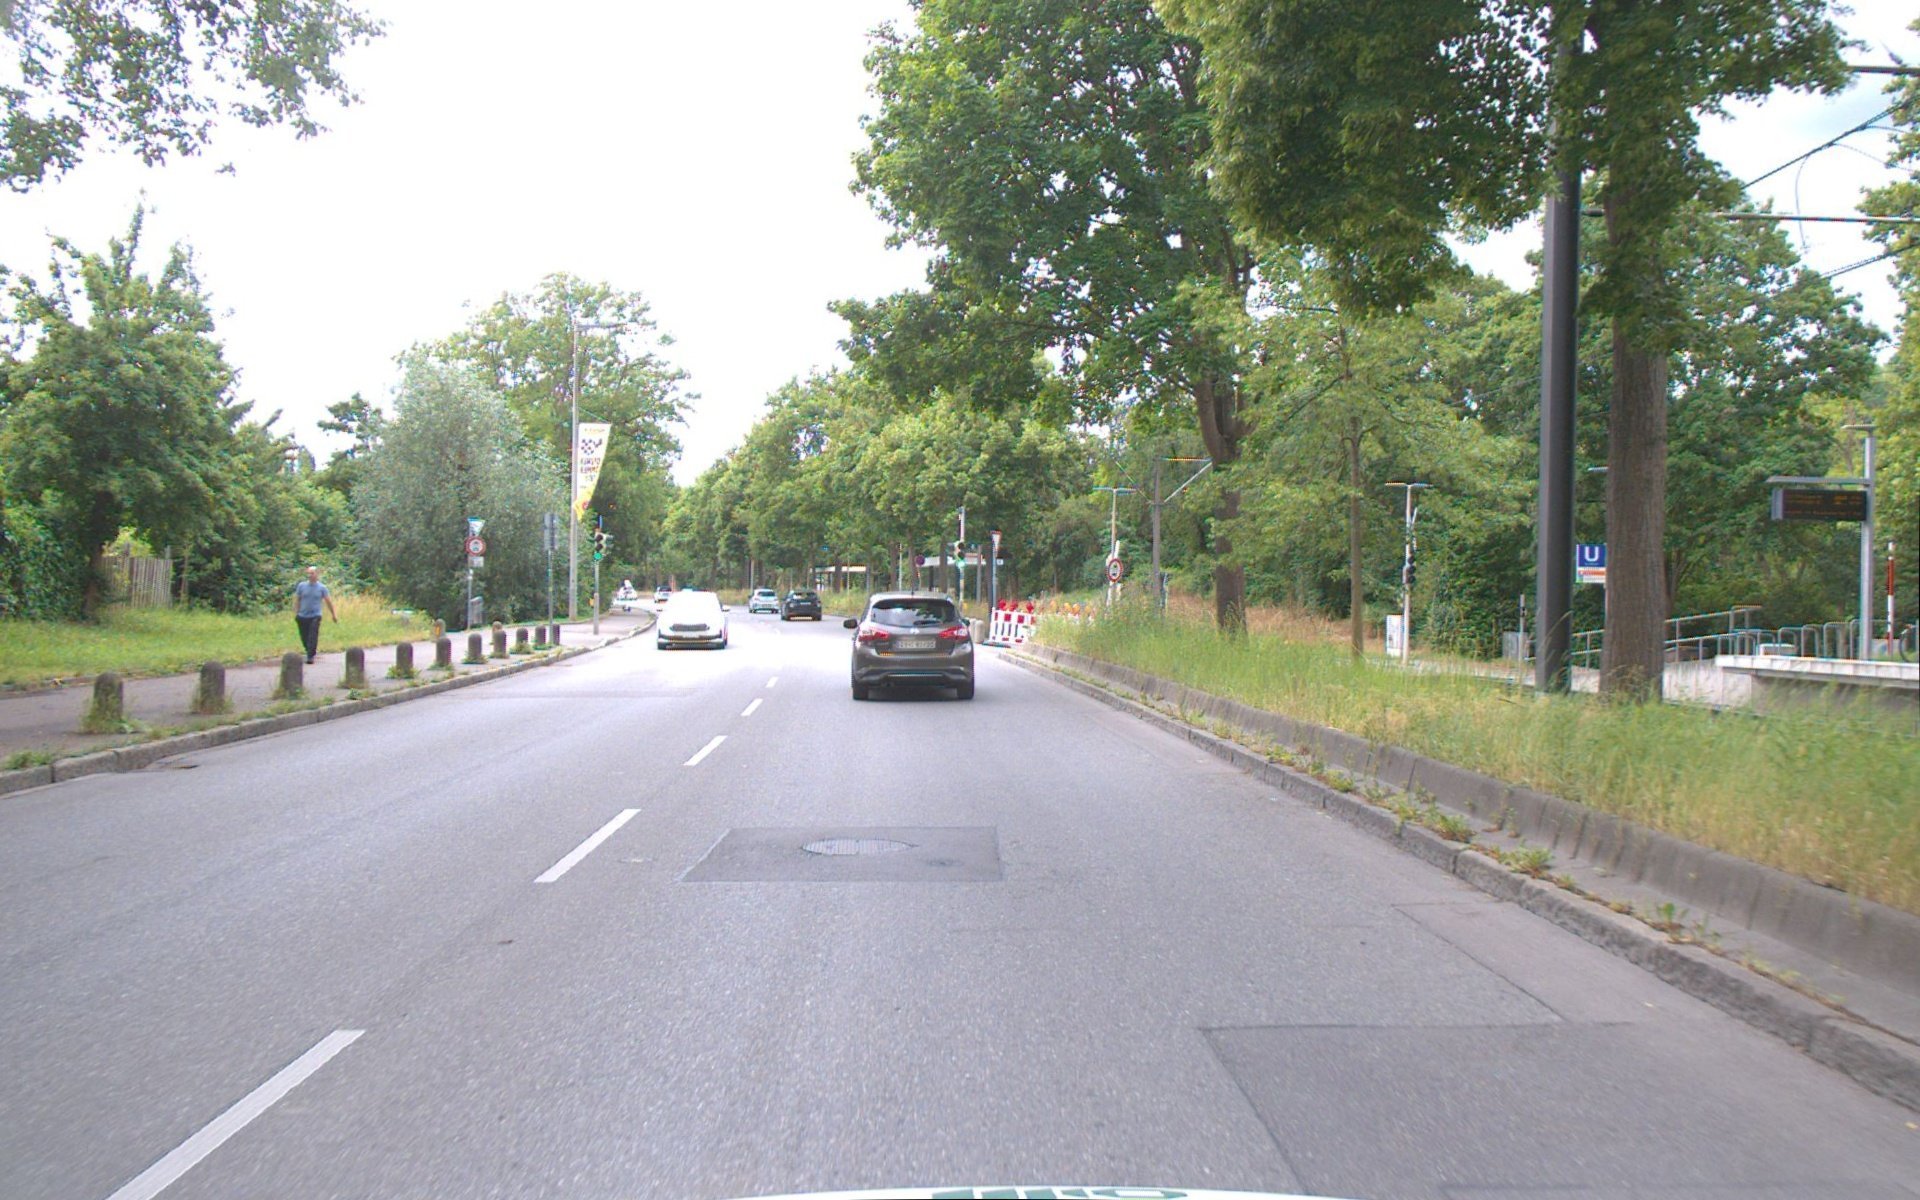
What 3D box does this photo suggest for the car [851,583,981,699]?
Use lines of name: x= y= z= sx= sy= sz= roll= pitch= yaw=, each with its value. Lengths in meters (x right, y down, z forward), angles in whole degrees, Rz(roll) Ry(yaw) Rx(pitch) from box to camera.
car: x=-0.731 y=0.544 z=24.733 sx=1.780 sy=1.534 sz=3.997 roll=0 pitch=1 yaw=-4

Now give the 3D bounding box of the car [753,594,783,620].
car: x=-12.190 y=0.450 z=105.009 sx=1.742 sy=1.497 sz=3.993 roll=3 pitch=0 yaw=-8

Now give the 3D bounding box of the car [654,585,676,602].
car: x=-28.334 y=-0.627 z=158.986 sx=1.746 sy=1.497 sz=3.984 roll=1 pitch=1 yaw=-15

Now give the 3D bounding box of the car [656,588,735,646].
car: x=-7.044 y=0.427 z=44.398 sx=1.738 sy=1.464 sz=4.357 roll=-1 pitch=0 yaw=-4

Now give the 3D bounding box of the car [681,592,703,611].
car: x=-23.013 y=0.089 z=142.160 sx=1.743 sy=1.497 sz=3.992 roll=4 pitch=0 yaw=-8

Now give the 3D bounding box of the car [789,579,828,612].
car: x=-7.360 y=-0.222 z=80.107 sx=1.742 sy=1.497 sz=3.995 roll=3 pitch=0 yaw=-6

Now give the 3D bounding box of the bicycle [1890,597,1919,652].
bicycle: x=17.982 y=0.477 z=30.439 sx=1.479 sy=0.990 sz=0.450 roll=3 pitch=0 yaw=-6

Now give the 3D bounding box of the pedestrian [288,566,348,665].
pedestrian: x=-11.104 y=0.267 z=28.633 sx=0.676 sy=1.662 sz=0.837 roll=2 pitch=0 yaw=-3

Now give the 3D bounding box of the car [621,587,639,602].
car: x=-35.720 y=-0.643 z=179.194 sx=1.745 sy=1.497 sz=3.987 roll=2 pitch=0 yaw=-13
